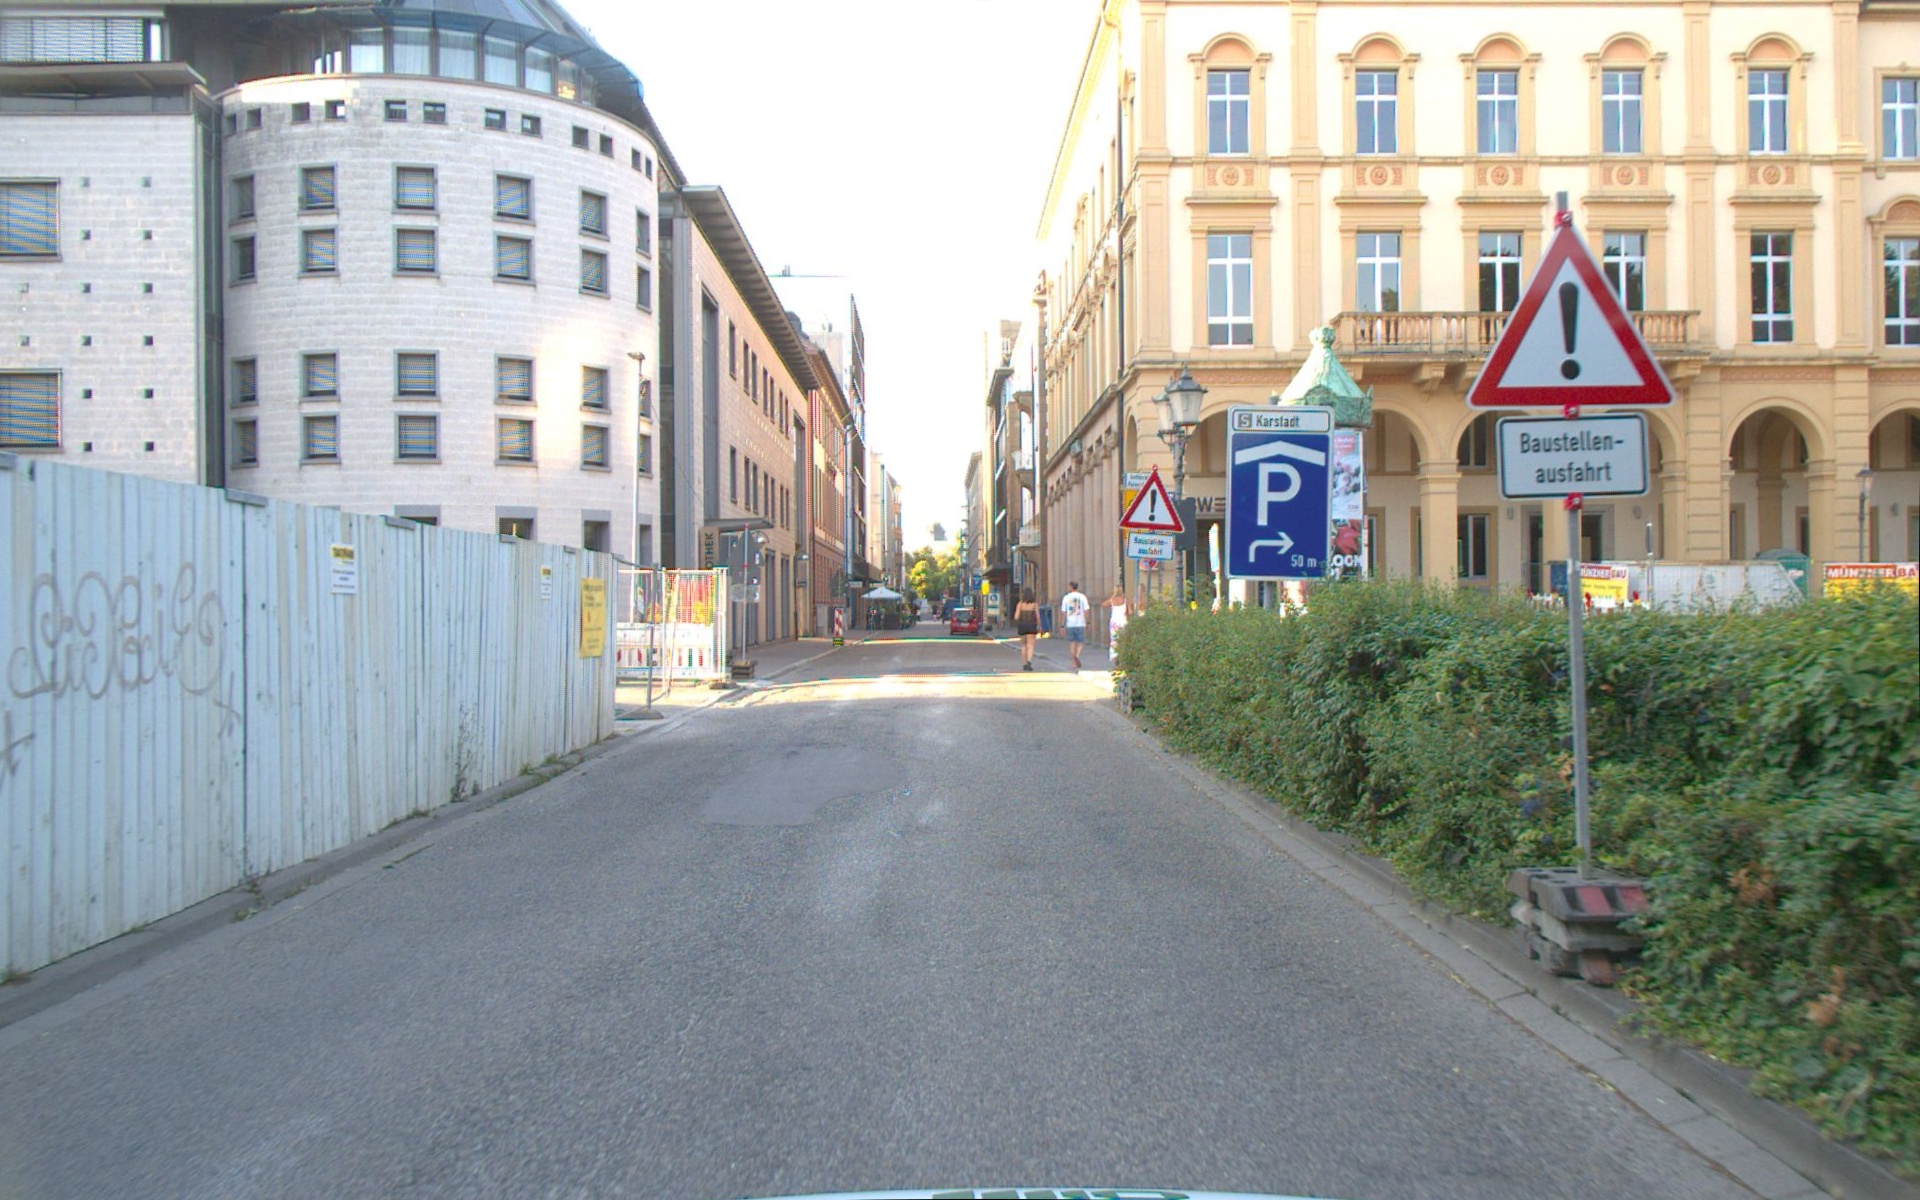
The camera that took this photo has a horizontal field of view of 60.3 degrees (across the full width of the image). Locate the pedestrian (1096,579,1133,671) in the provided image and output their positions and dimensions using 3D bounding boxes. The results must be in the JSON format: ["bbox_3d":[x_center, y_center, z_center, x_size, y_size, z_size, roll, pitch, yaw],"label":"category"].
[{"bbox_3d":[3.141,0.502,33.726,0.623,1.835,0.771,-1,-1,-2],"label":"pedestrian"}]

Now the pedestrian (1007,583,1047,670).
[{"bbox_3d":[1.400,0.553,34.713,0.760,1.777,0.874,-1,-1,-2],"label":"pedestrian"}]

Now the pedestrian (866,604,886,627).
[{"bbox_3d":[-5.482,1.002,107.962,1.265,1.514,0.661,0,-1,-3],"label":"pedestrian"}]

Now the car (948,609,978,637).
[{"bbox_3d":[0.159,1.268,92.437,1.616,1.452,3.535,2,-1,0],"label":"car"}]

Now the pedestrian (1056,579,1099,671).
[{"bbox_3d":[2.488,0.521,35.070,0.795,1.908,0.874,-1,-1,-2],"label":"pedestrian"}]

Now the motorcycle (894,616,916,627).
[{"bbox_3d":[-4.378,1.712,132.217,1.766,0.891,0.560,0,-1,-5],"label":"motorcycle"}]

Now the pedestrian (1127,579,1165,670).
[{"bbox_3d":[3.787,0.496,33.762,0.623,1.835,0.771,-1,-1,-2],"label":"pedestrian"}]

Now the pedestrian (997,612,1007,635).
[{"bbox_3d":[2.747,1.535,107.974,0.643,1.514,0.493,-1,-1,1],"label":"pedestrian"}]

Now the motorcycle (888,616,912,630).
[{"bbox_3d":[-4.469,1.745,124.037,1.766,1.059,0.493,0,-1,-5],"label":"motorcycle"}]

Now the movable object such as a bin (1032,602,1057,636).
[{"bbox_3d":[3.645,0.817,71.522,0.970,1.416,1.240,-1,0,-2],"label":"movable object such as a bin"}]

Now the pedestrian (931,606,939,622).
[{"bbox_3d":[-2.673,1.459,175.635,0.788,1.702,0.888,-1,-1,1],"label":"pedestrian"}]
